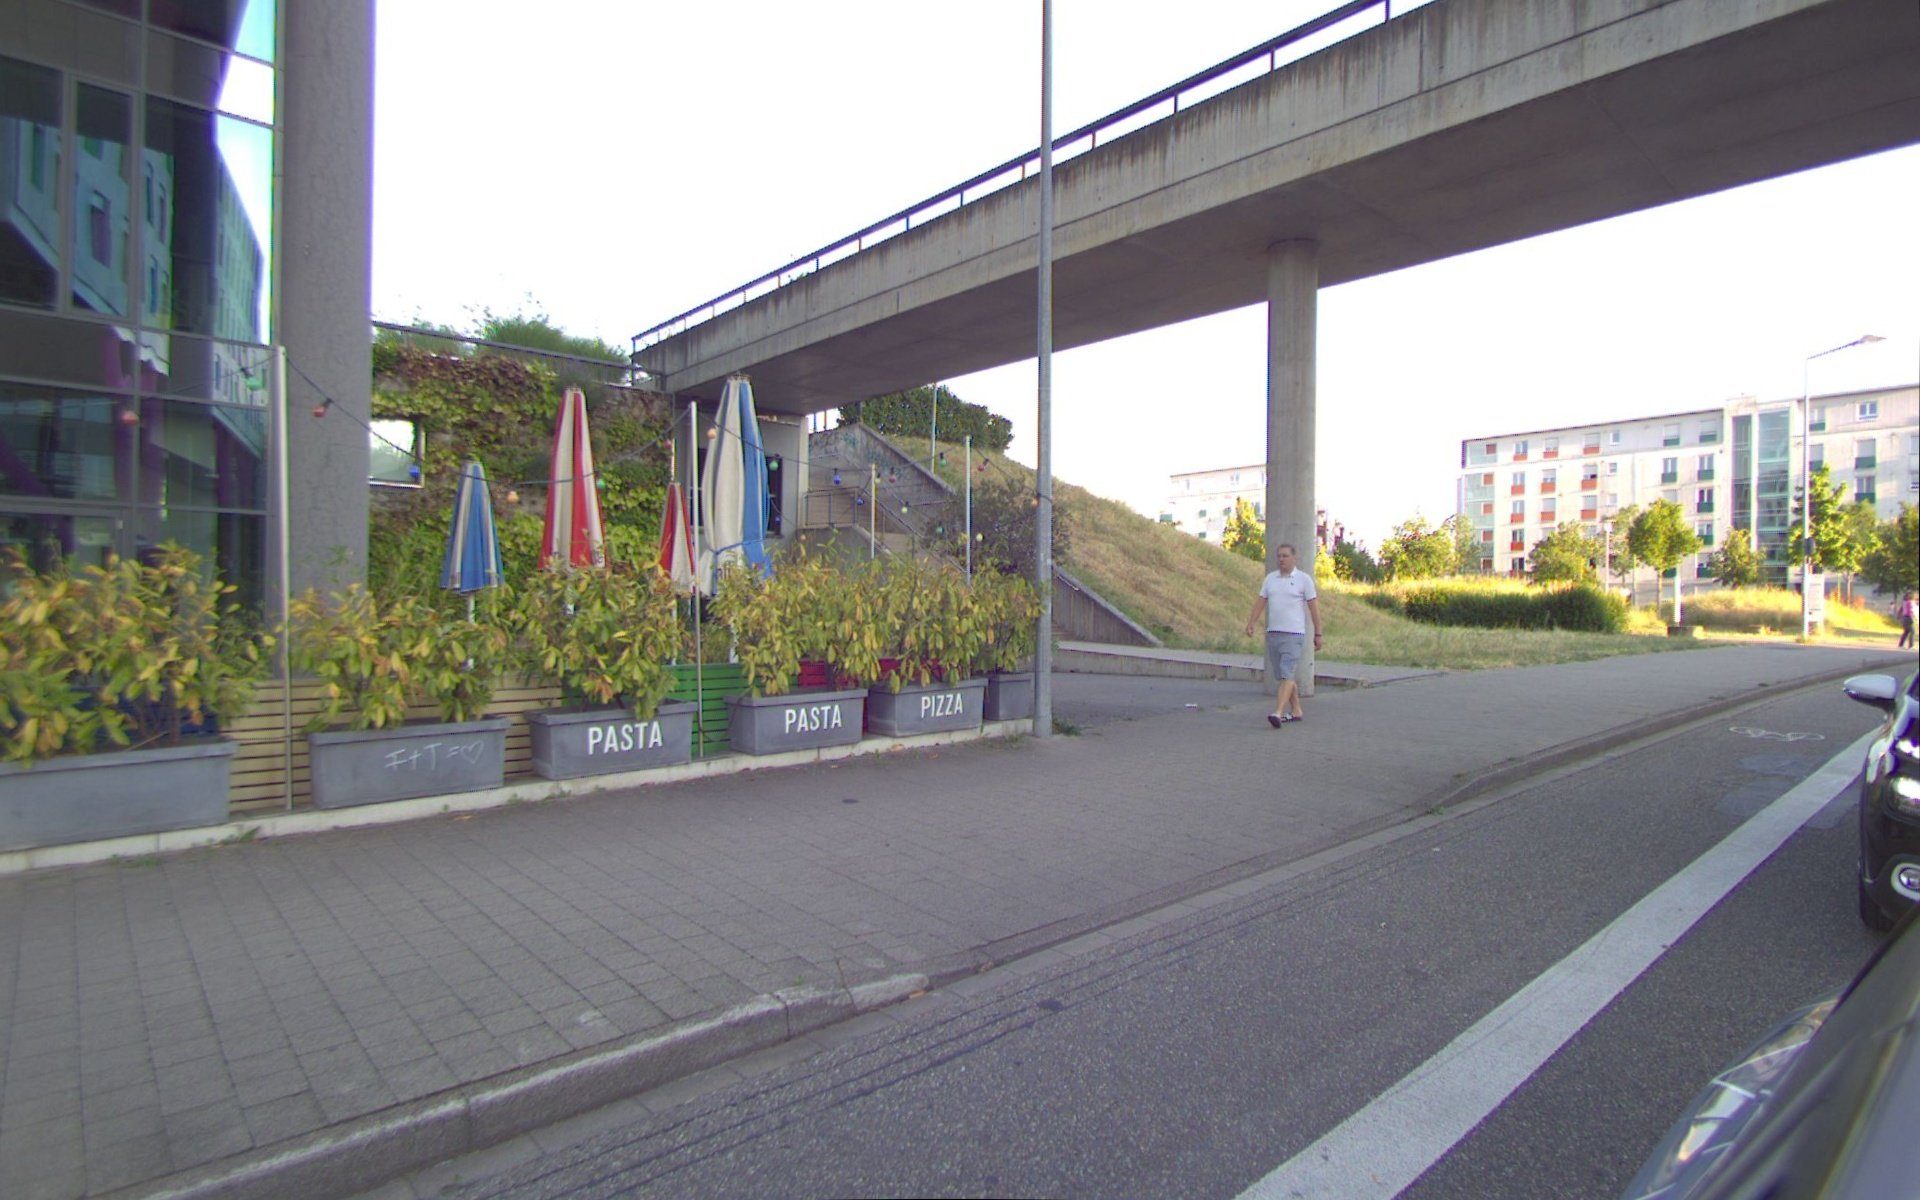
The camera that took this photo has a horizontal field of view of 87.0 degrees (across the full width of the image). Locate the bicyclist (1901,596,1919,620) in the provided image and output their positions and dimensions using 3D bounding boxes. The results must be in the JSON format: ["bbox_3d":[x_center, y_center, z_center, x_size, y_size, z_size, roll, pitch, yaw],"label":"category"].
[{"bbox_3d":[62.864,0.529,66.690,0.922,1.615,1.059,0,0,24],"label":"bicyclist"}]

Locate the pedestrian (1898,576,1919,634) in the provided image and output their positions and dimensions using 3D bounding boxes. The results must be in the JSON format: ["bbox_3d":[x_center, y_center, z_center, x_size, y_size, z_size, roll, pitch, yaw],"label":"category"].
[{"bbox_3d":[27.656,0.140,29.176,0.844,1.649,0.737,1,2,-40],"label":"pedestrian"}]

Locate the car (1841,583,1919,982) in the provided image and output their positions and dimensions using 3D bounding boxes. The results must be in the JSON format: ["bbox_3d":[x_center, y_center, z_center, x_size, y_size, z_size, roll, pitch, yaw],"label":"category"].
[{"bbox_3d":[5.477,0.691,4.563,3.930,1.482,1.738,0,0,-41],"label":"car"}]

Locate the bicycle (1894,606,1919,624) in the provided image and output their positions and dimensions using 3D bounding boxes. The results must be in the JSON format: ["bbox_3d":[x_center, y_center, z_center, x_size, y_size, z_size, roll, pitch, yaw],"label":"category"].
[{"bbox_3d":[63.117,0.983,66.972,0.891,1.163,3.467,0,0,26],"label":"bicycle"}]

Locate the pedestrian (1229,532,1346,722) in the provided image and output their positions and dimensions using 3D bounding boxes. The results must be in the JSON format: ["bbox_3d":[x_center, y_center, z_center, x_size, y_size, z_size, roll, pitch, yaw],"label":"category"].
[{"bbox_3d":[3.196,0.249,9.875,0.890,1.746,0.737,1,0,-40],"label":"pedestrian"}]
